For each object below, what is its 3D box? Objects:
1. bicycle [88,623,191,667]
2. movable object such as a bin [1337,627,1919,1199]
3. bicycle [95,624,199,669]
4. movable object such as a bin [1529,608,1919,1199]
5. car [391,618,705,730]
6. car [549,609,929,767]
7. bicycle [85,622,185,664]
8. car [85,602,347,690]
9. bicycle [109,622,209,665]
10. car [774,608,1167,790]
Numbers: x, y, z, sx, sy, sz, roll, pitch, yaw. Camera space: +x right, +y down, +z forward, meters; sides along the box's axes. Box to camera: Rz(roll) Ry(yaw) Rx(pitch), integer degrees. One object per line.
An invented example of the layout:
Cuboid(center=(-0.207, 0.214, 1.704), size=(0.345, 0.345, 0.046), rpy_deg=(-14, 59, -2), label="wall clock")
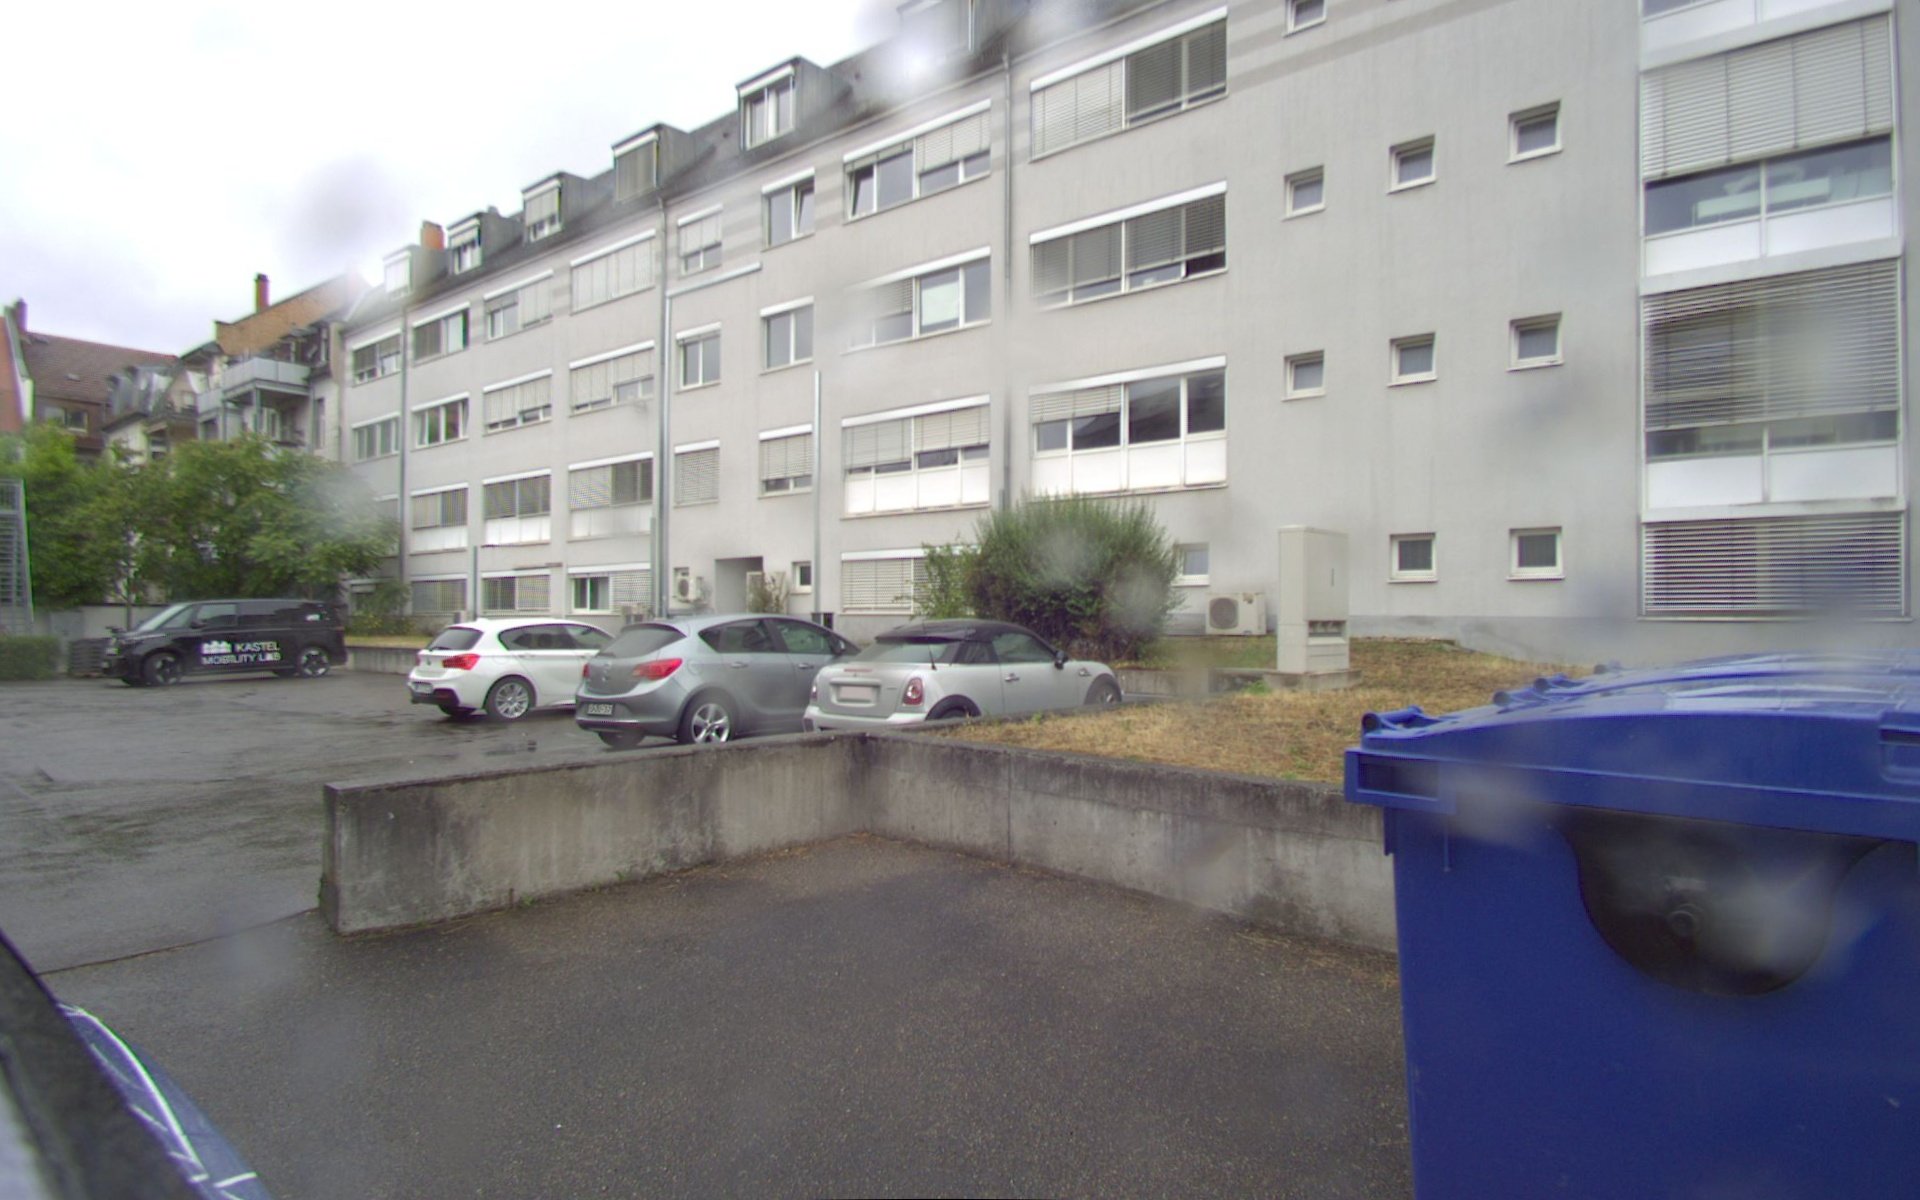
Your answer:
Cuboid(center=(-24.146, 1.306, 29.819), size=(0.644, 1.195, 2.287), rpy_deg=(2, 1, 44), label="bicycle")
Cuboid(center=(1.496, 0.733, 1.810), size=(1.188, 1.347, 1.118), rpy_deg=(1, -1, -42), label="movable object such as a bin")
Cuboid(center=(-23.517, 1.327, 29.322), size=(0.644, 1.195, 2.287), rpy_deg=(2, 1, 44), label="bicycle")
Cuboid(center=(2.387, 0.716, 2.770), size=(1.117, 1.347, 1.189), rpy_deg=(-4, -2, 45), label="movable object such as a bin")
Cuboid(center=(-6.083, 1.002, 15.350), size=(1.751, 1.444, 4.099), rpy_deg=(-1, -1, 39), label="car")
Cuboid(center=(-2.384, 0.887, 11.796), size=(1.820, 1.495, 4.124), rpy_deg=(-2, -2, 39), label="car")
Cuboid(center=(-24.962, 1.277, 30.657), size=(0.644, 1.195, 2.287), rpy_deg=(2, 1, 44), label="bicycle")
Cuboid(center=(-17.204, 1.016, 23.623), size=(1.984, 1.851, 4.575), rpy_deg=(-2, -2, 36), label="car")
Cuboid(center=(-24.250, 1.295, 30.677), size=(0.644, 1.195, 2.287), rpy_deg=(2, 1, 44), label="bicycle")
Cuboid(center=(0.297, 0.845, 10.439), size=(1.821, 1.343, 4.123), rpy_deg=(-2, 0, 40), label="car")
